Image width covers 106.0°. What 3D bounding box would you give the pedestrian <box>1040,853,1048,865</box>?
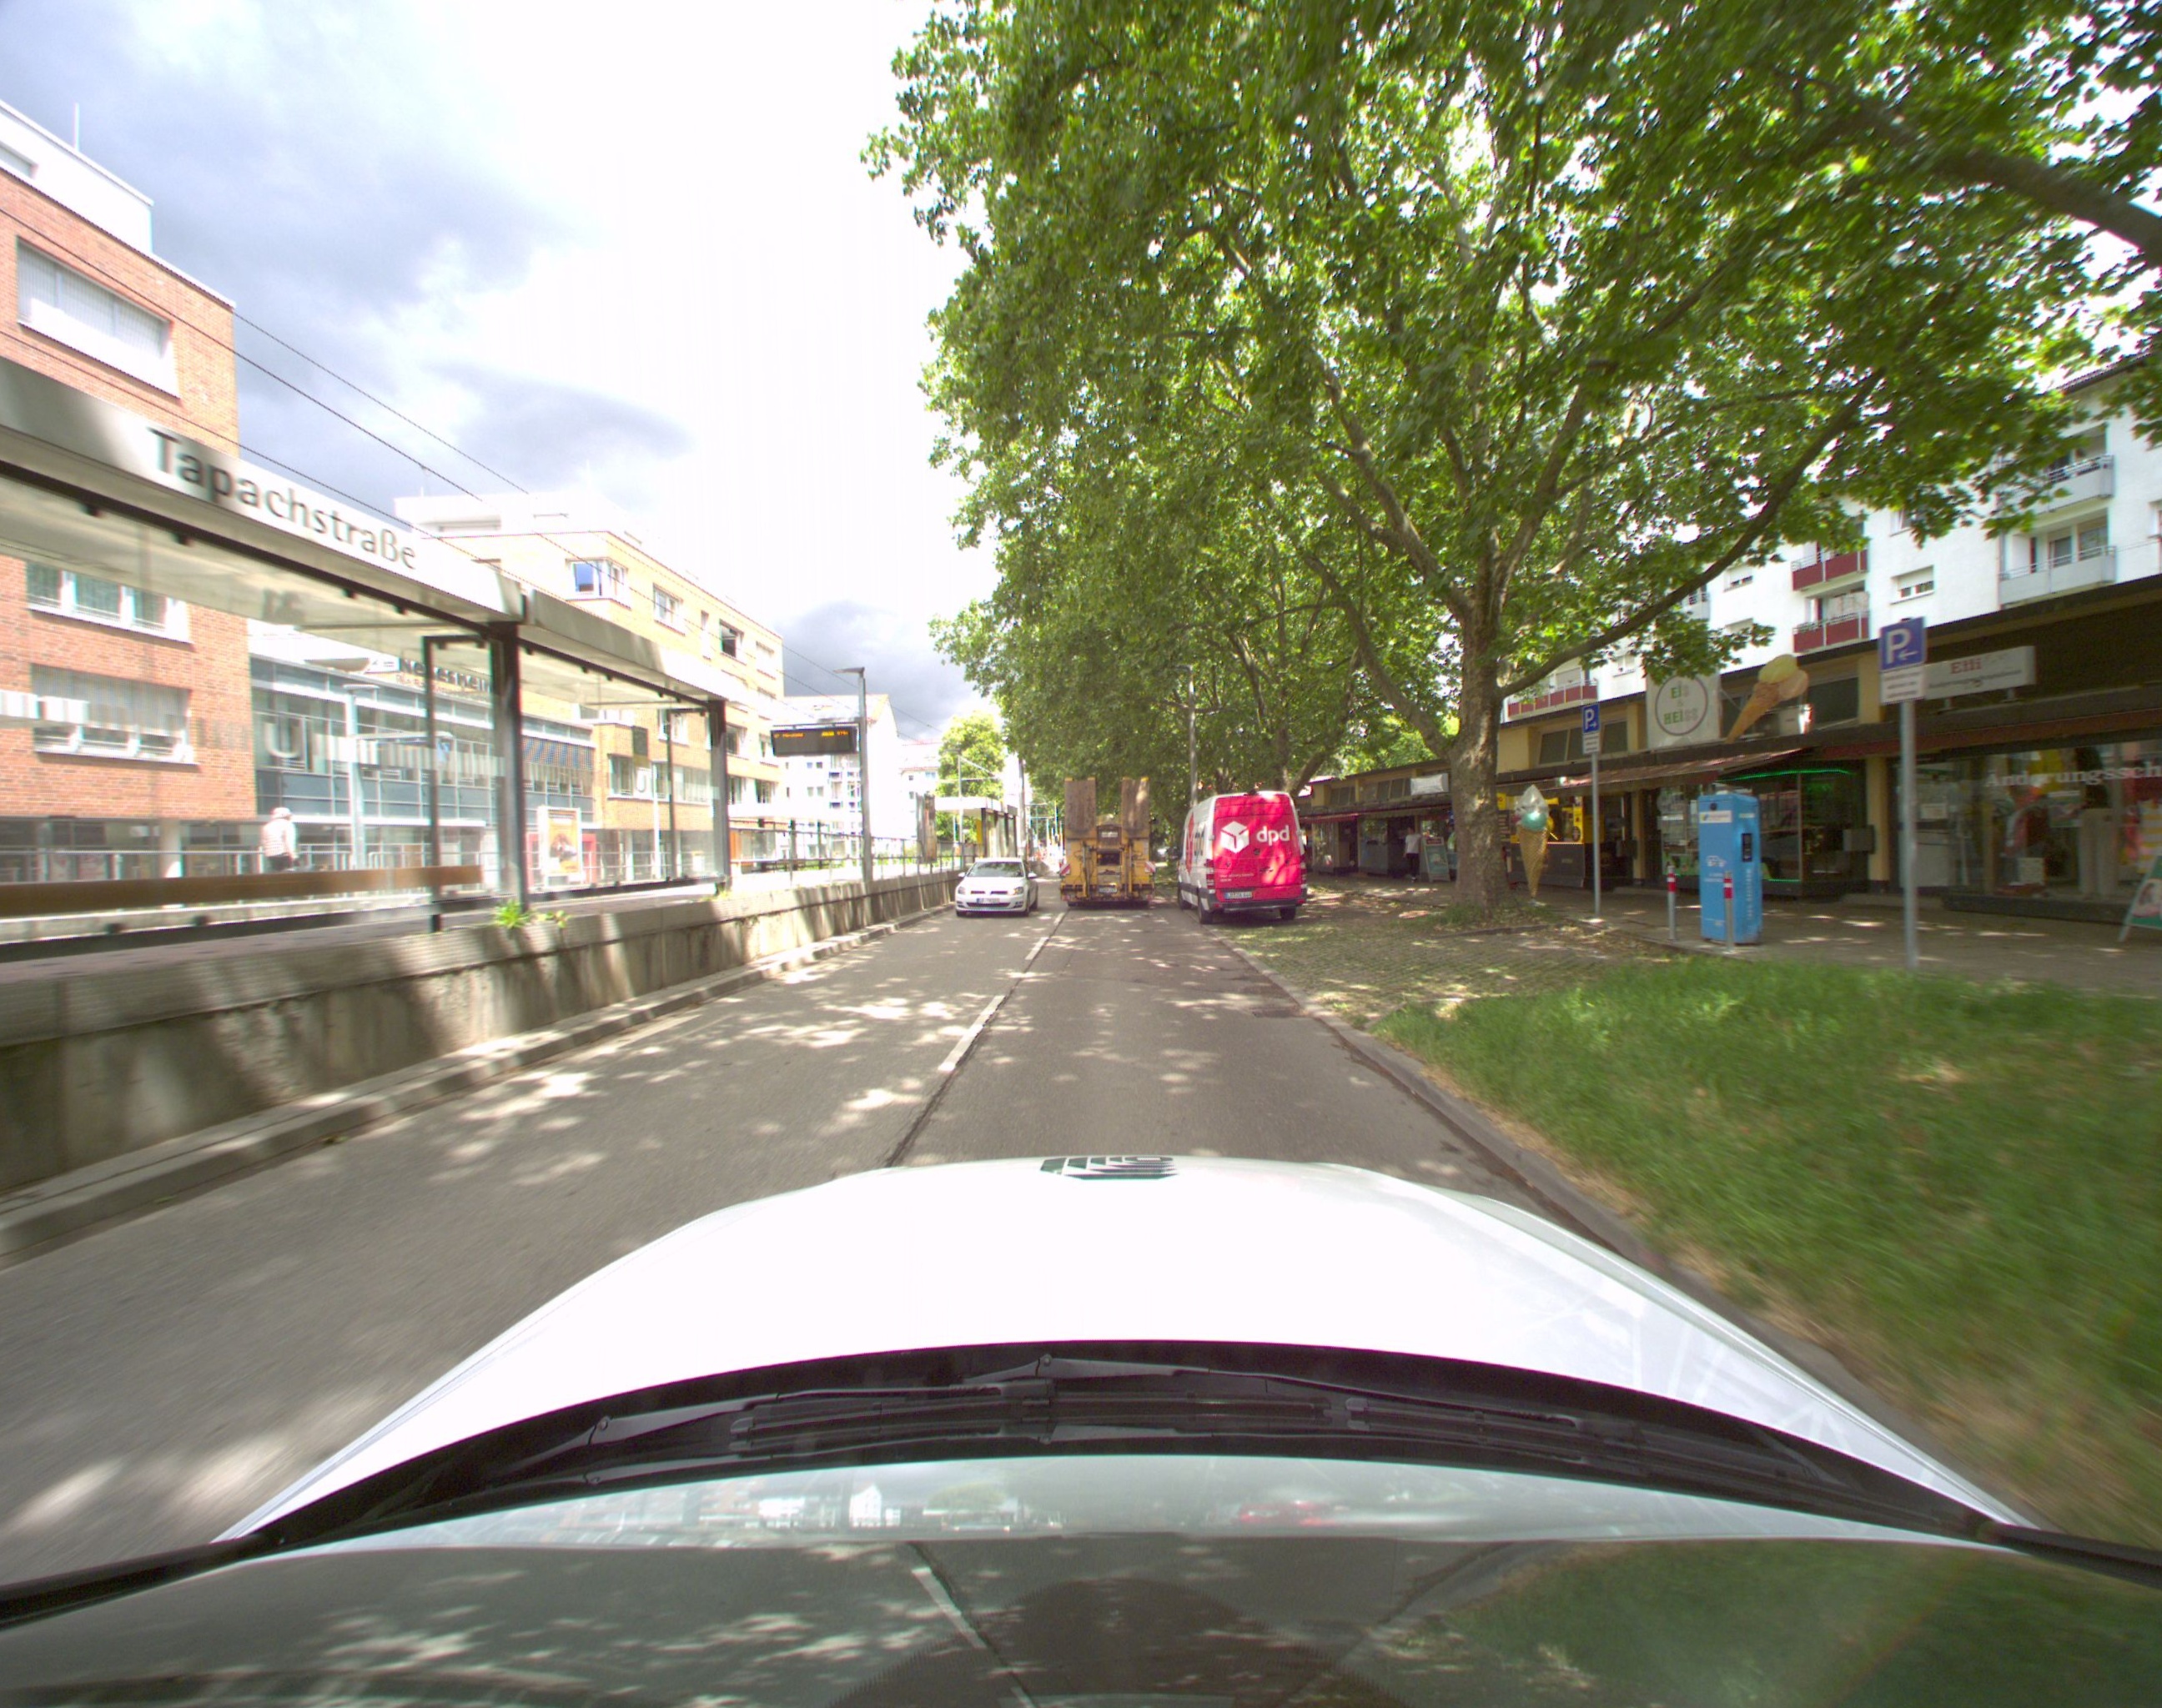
[{"bbox_3d":[-5.802,0.796,127.110,0.890,1.867,0.830,-1,0,-27],"label":"pedestrian"}]

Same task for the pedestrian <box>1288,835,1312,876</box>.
[{"bbox_3d":[9.541,0.053,35.456,0.757,1.724,0.658,-3,0,-3],"label":"pedestrian"}]

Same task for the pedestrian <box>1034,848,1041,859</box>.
[{"bbox_3d":[-6.721,-0.097,126.115,0.878,1.760,0.841,0,0,18],"label":"pedestrian"}]

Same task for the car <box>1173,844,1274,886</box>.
[{"bbox_3d":[5.962,0.458,34.262,3.823,1.562,1.617,-3,0,-5],"label":"car"}]

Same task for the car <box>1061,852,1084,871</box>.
[{"bbox_3d":[-0.641,0.575,66.749,1.756,1.481,4.577,0,0,1],"label":"car"}]

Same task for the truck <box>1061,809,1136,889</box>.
[{"bbox_3d":[0.697,-0.219,36.416,2.980,3.135,7.886,-1,0,0],"label":"truck"}]

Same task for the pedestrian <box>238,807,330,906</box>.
[{"bbox_3d":[-13.583,0.043,13.899,0.748,1.629,0.816,-1,0,1],"label":"pedestrian"}]

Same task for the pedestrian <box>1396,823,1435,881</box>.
[{"bbox_3d":[10.721,-0.067,26.140,0.610,1.801,0.914,-2,-1,-44],"label":"pedestrian"}]

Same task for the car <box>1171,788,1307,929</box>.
[{"bbox_3d":[3.373,0.081,18.840,1.897,2.581,6.836,-3,0,2],"label":"car"}]

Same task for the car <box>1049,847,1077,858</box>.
[{"bbox_3d":[-3.510,-0.351,157.630,5.094,2.102,1.968,0,1,-13],"label":"car"}]

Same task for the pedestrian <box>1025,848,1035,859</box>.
[{"bbox_3d":[-7.977,-0.095,127.513,1.117,1.715,0.877,-1,0,-43],"label":"pedestrian"}]

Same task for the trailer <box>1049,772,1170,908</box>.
[{"bbox_3d":[0.738,-0.385,26.917,3.144,3.552,11.095,-1,0,0],"label":"trailer"}]

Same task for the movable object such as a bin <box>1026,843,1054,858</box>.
[{"bbox_3d":[-7.310,-0.615,145.465,4.325,2.629,2.234,-1,0,28],"label":"movable object such as a bin"}]

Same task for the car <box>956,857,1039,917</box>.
[{"bbox_3d":[-2.065,0.770,21.011,1.726,1.396,3.751,0,0,0],"label":"car"}]
